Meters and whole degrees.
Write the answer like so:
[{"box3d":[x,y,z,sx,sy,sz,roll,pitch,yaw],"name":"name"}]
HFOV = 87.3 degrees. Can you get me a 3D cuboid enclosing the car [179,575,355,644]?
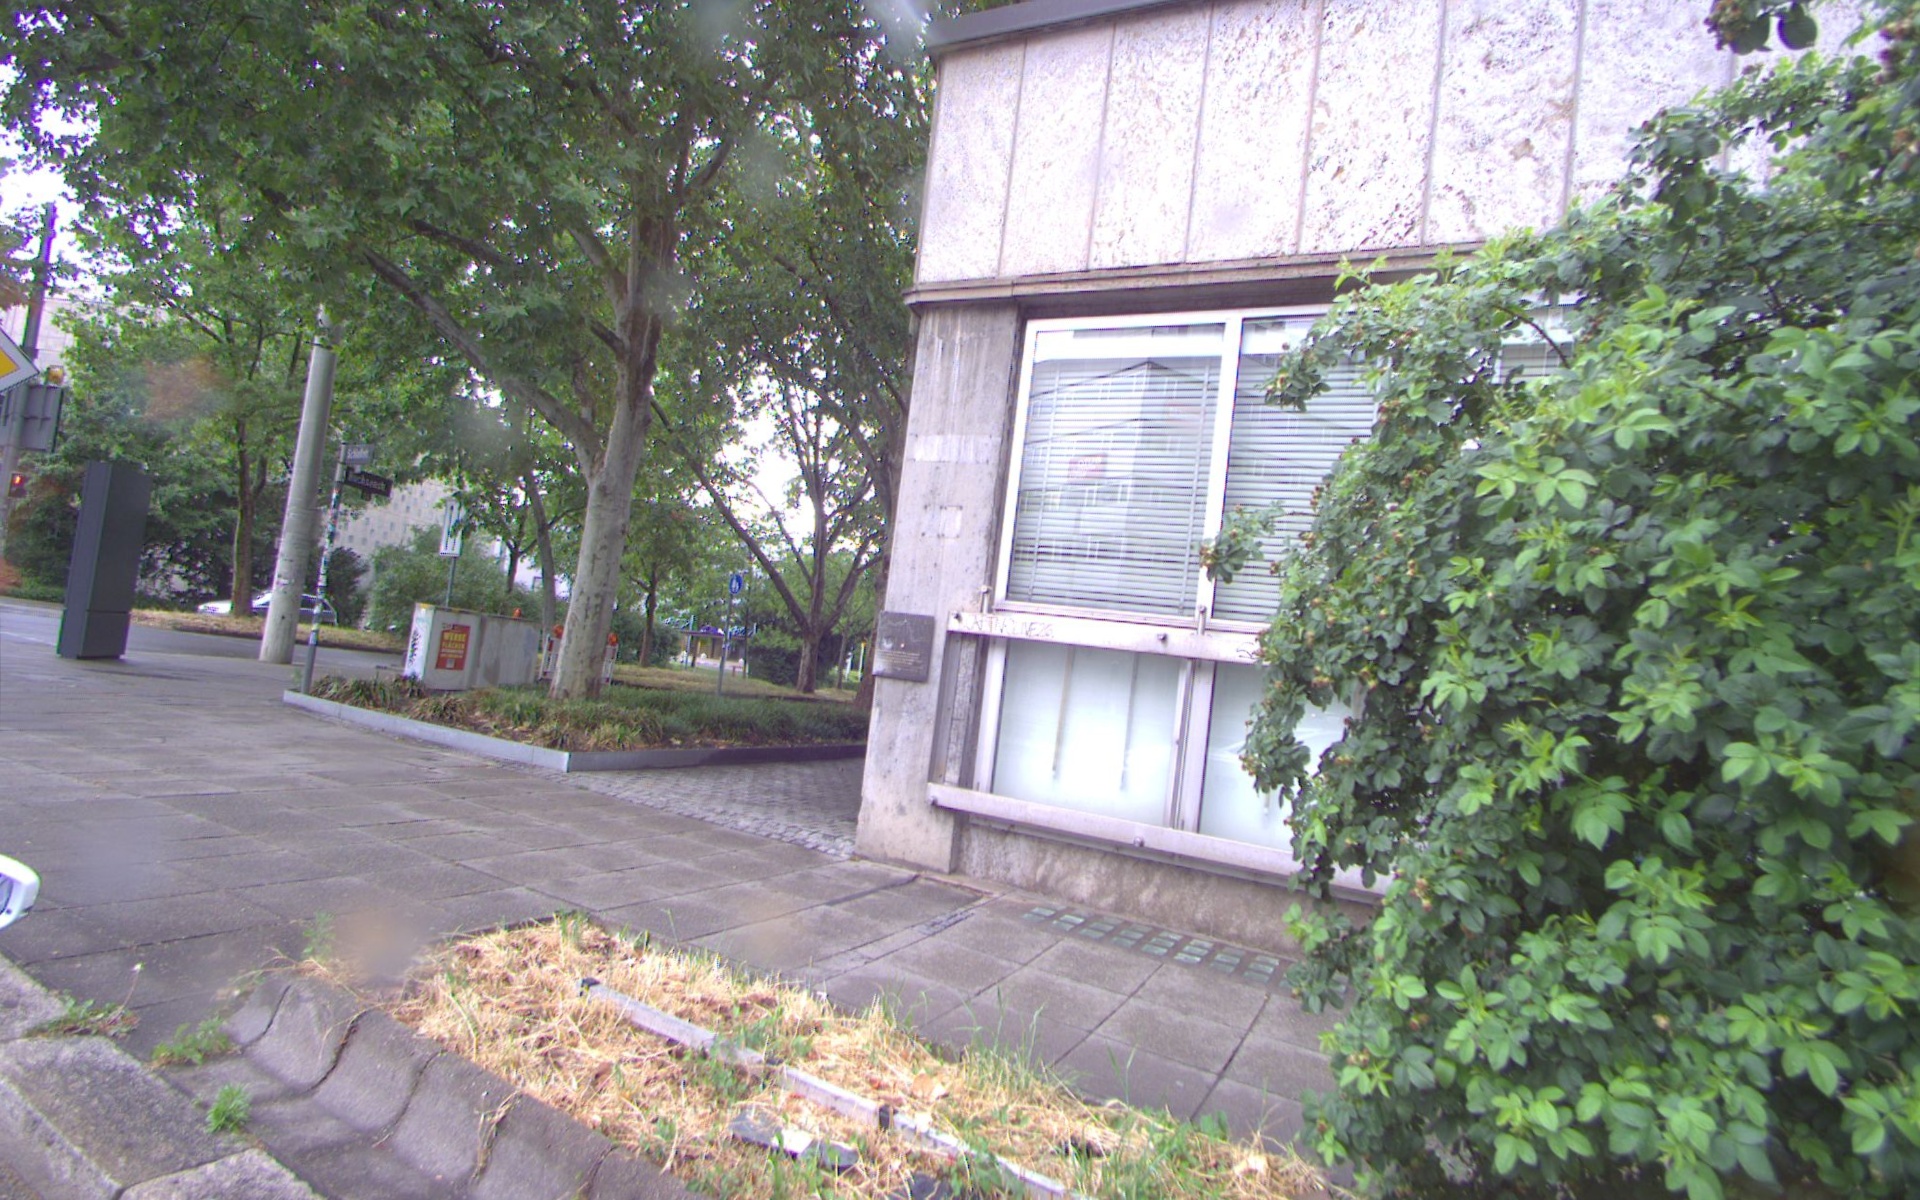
[{"box3d":[-21.873,0.334,31.924,1.964,1.456,4.007,6,-6,25],"name":"car"}]
